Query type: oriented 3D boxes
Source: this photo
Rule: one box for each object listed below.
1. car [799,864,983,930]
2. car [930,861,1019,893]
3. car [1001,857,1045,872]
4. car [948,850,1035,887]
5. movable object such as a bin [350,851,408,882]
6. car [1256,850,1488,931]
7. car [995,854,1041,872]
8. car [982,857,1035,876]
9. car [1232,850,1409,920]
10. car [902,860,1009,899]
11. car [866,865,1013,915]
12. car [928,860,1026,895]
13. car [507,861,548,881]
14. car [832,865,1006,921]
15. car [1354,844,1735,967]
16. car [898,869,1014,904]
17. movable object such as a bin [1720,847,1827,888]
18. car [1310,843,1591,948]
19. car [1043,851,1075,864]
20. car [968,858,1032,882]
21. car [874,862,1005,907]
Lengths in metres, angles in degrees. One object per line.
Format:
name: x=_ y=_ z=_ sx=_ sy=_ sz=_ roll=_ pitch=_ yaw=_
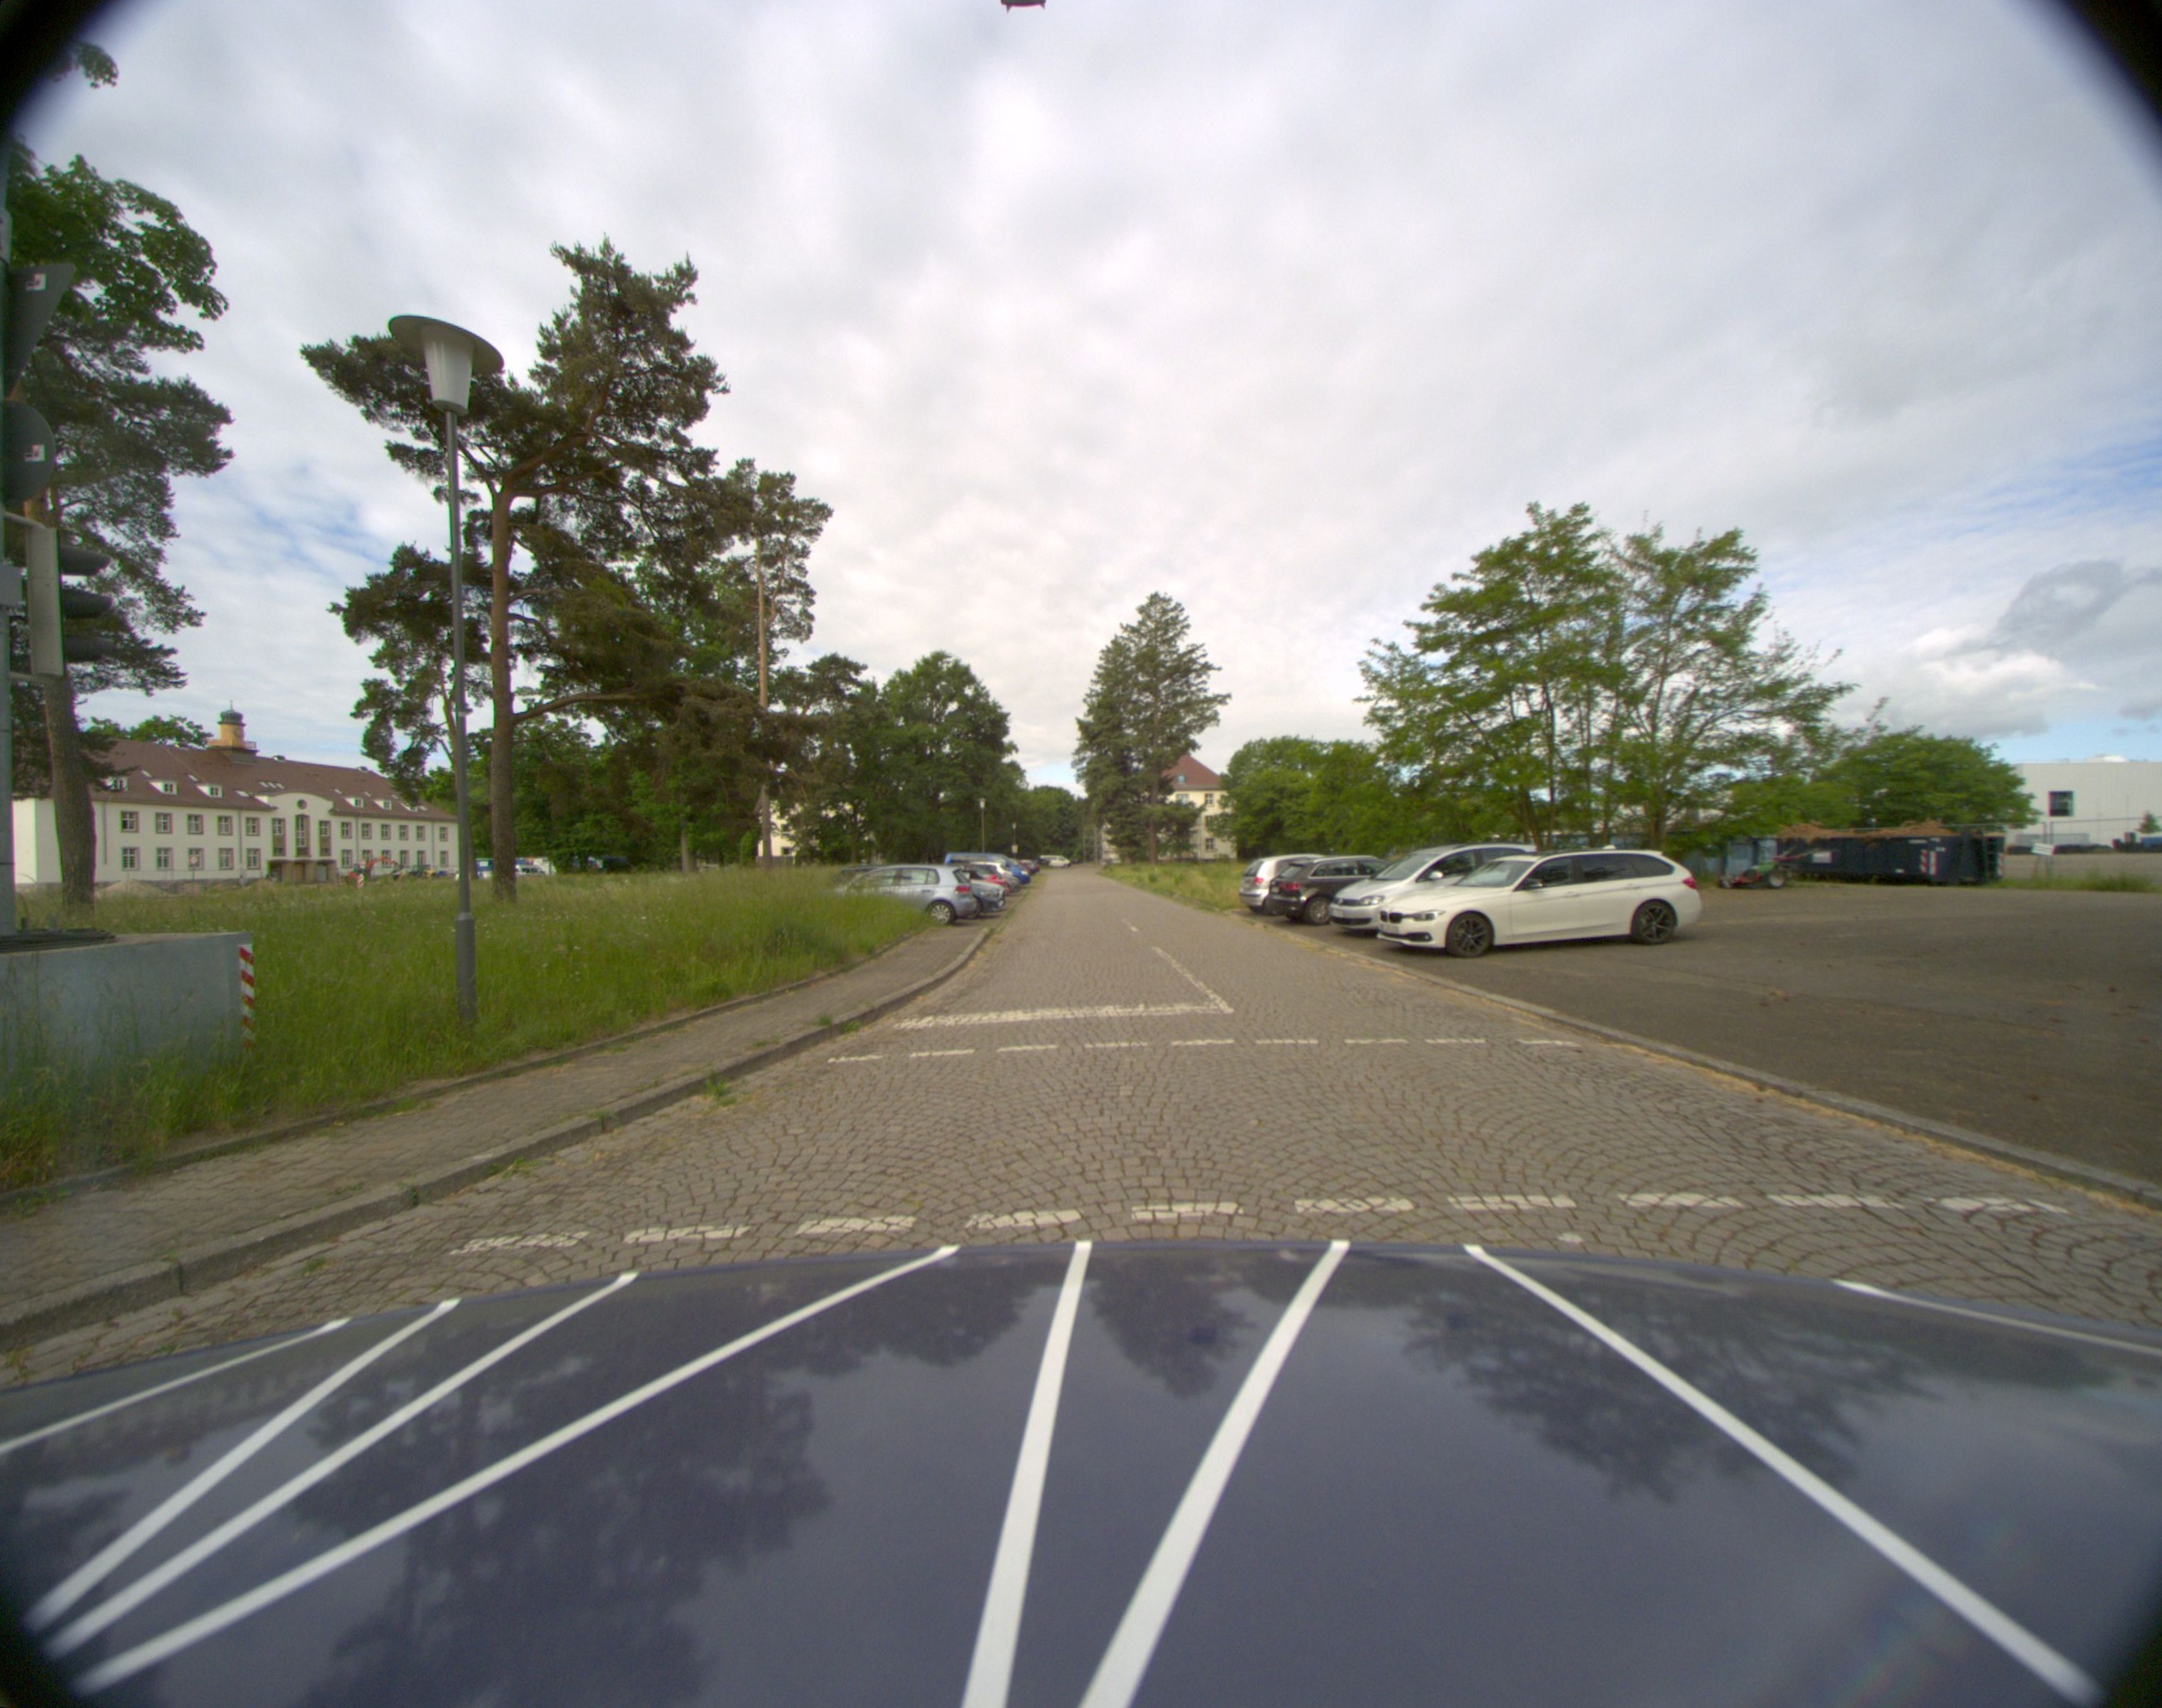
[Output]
car: x=-4.461 y=1.011 z=18.277 sx=4.012 sy=1.420 sz=1.697 roll=1 pitch=0 yaw=-3
car: x=-5.120 y=1.082 z=36.716 sx=4.050 sy=1.507 sz=1.600 roll=0 pitch=0 yaw=1
car: x=-5.807 y=1.051 z=76.377 sx=4.092 sy=1.524 sz=1.727 roll=0 pitch=0 yaw=6
car: x=-4.909 y=0.782 z=42.137 sx=4.602 sy=1.994 sz=1.912 roll=0 pitch=1 yaw=0
movable object such as a bin: x=-90.714 y=1.573 z=98.240 sx=5.459 sy=3.748 sz=2.053 roll=-2 pitch=1 yaw=2
car: x=6.357 y=0.762 z=16.889 sx=4.447 sy=1.416 sz=1.721 roll=-4 pitch=1 yaw=-4
car: x=-5.884 y=0.871 z=71.682 sx=4.082 sy=1.685 sz=1.727 roll=0 pitch=0 yaw=6
car: x=-5.856 y=0.995 z=61.333 sx=4.084 sy=1.436 sz=1.726 roll=0 pitch=0 yaw=0
car: x=6.090 y=0.764 z=19.557 sx=3.961 sy=1.462 sz=1.584 roll=-4 pitch=1 yaw=-5
car: x=-5.058 y=1.023 z=30.968 sx=4.050 sy=1.507 sz=1.600 roll=0 pitch=0 yaw=1
car: x=-4.328 y=1.098 z=23.656 sx=4.247 sy=1.465 sz=1.717 roll=0 pitch=0 yaw=1
car: x=-4.559 y=1.042 z=33.809 sx=4.097 sy=1.507 sz=1.700 roll=0 pitch=0 yaw=1
car: x=-70.352 y=2.130 z=96.635 sx=1.862 sy=2.351 sz=4.446 roll=-2 pitch=1 yaw=-1
car: x=-4.362 y=1.047 z=20.909 sx=4.440 sy=1.375 sz=1.663 roll=1 pitch=0 yaw=-3
car: x=6.950 y=0.736 z=11.710 sx=4.752 sy=1.479 sz=1.866 roll=-3 pitch=0 yaw=-4
car: x=-4.591 y=1.183 z=28.315 sx=4.051 sy=1.233 sz=1.549 roll=0 pitch=0 yaw=-1
movable object such as a bin: x=19.275 y=0.366 z=21.176 sx=2.268 sy=1.119 sz=0.858 roll=0 pitch=1 yaw=-3
car: x=6.813 y=0.708 z=14.259 sx=4.376 sy=1.588 sz=1.871 roll=-3 pitch=1 yaw=-7
car: x=-3.597 y=0.623 z=125.120 sx=5.150 sy=2.137 sz=1.774 roll=0 pitch=0 yaw=-5
car: x=-5.407 y=1.047 z=51.028 sx=4.083 sy=1.584 sz=1.654 roll=0 pitch=0 yaw=1
car: x=-4.798 y=1.030 z=26.120 sx=4.184 sy=1.473 sz=1.717 roll=0 pitch=0 yaw=-1
